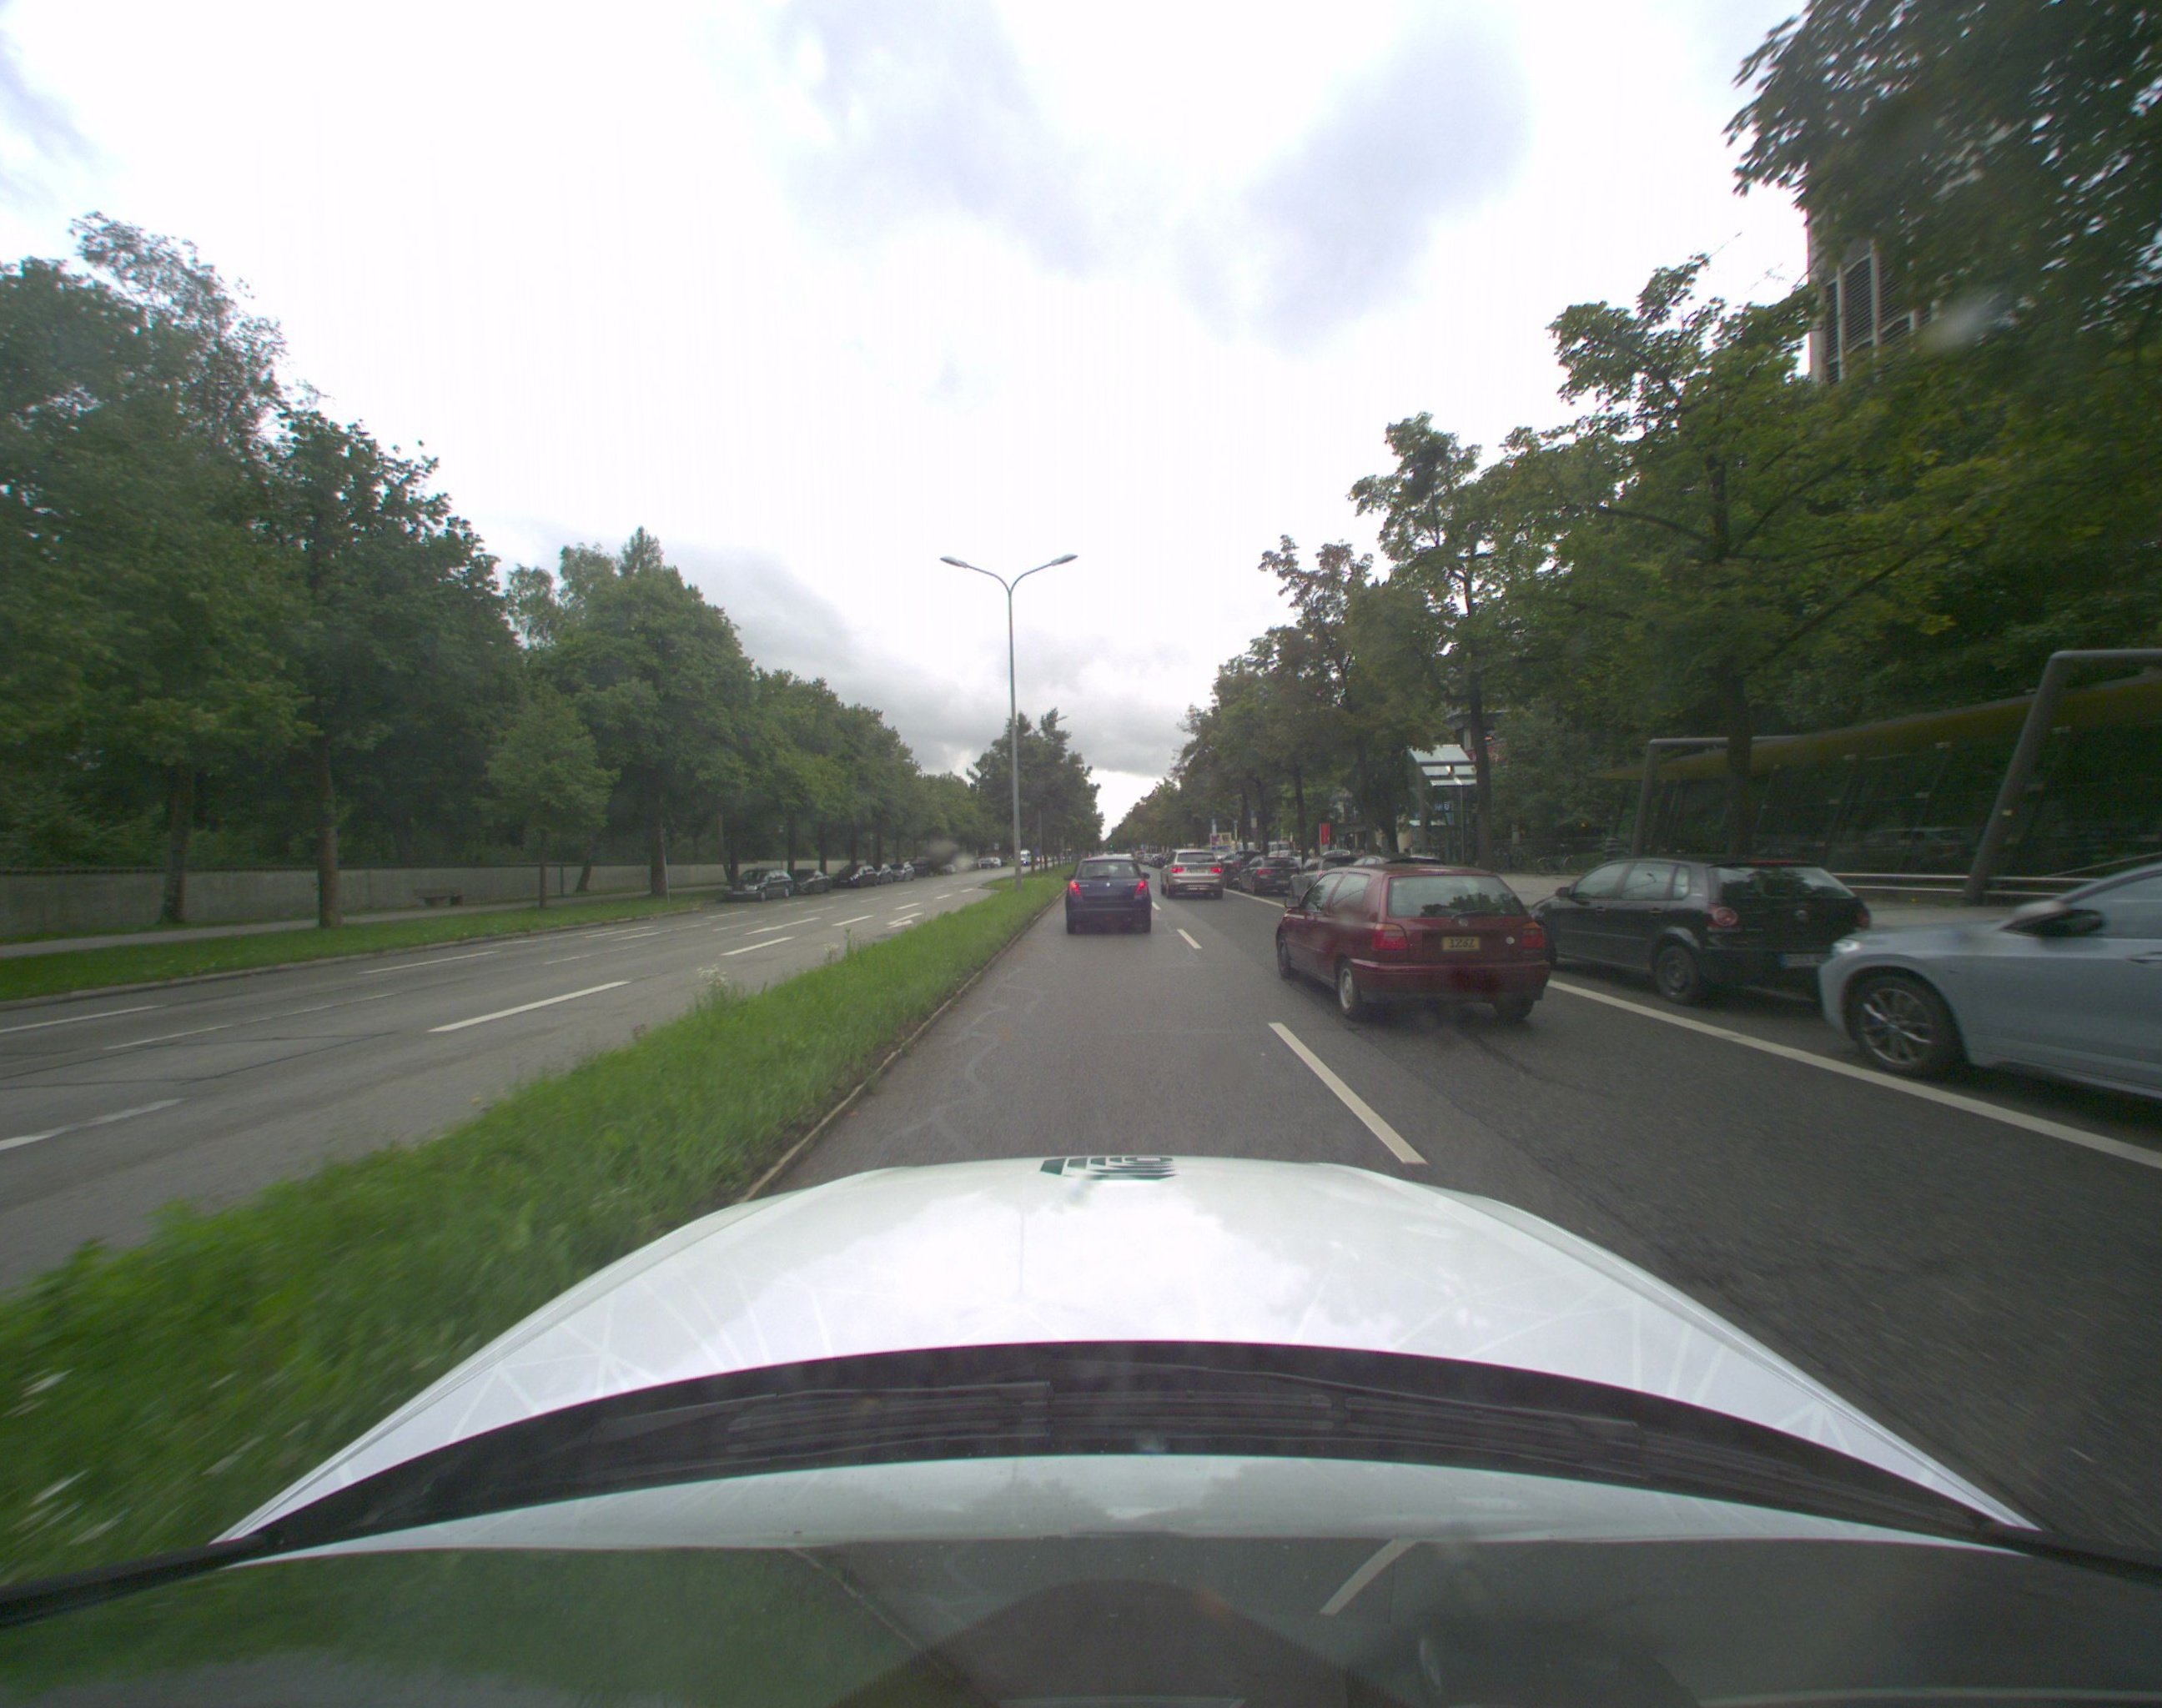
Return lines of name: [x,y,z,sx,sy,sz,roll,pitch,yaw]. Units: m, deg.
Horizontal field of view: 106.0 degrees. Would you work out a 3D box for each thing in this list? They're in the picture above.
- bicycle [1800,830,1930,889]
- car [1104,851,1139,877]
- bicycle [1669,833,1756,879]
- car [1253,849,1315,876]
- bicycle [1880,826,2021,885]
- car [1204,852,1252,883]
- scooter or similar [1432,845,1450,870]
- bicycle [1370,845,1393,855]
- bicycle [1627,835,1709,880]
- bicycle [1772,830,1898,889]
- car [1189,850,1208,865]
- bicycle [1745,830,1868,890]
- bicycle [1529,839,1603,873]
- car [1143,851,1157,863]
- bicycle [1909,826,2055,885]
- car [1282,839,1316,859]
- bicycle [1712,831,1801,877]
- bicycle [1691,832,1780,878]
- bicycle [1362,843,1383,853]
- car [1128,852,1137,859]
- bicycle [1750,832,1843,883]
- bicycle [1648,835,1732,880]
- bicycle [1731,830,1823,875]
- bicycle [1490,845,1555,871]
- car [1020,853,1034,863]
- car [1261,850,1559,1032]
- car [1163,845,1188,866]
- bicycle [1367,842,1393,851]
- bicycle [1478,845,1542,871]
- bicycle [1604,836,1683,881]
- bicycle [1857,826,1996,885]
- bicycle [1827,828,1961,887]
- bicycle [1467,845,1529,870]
bicycle: [18.371,0.115,19.193,0.642,1.280,2.551,-2,0,2]
car: [2.372,0.565,48.430,1.844,1.447,4.097,-2,0,0]
bicycle: [18.904,0.054,24.467,0.642,1.280,2.551,-2,0,2]
car: [13.145,0.533,52.521,1.948,1.625,4.877,-1,0,39]
bicycle: [20.492,0.034,19.298,0.642,1.280,2.551,-2,0,2]
car: [7.343,0.631,41.021,1.647,1.434,4.483,-2,0,1]
scooter or similar: [17.745,0.179,40.163,0.418,1.233,1.238,-1,0,4]
bicycle: [30.368,-0.398,82.399,0.751,0.958,2.022,-1,0,-45]
bicycle: [17.561,0.103,24.453,0.642,1.280,2.551,-2,0,2]
bicycle: [17.647,0.124,19.162,0.642,1.280,2.551,-2,0,2]
car: [13.006,0.332,90.179,1.677,1.585,4.011,-2,0,2]
bicycle: [16.979,0.131,19.173,0.642,1.280,2.551,-2,0,2]
bicycle: [19.271,0.077,32.404,2.533,1.280,0.647,-2,0,1]
car: [9.450,0.407,112.066,1.677,1.525,4.458,0,0,2]
bicycle: [21.192,0.029,19.257,0.642,1.280,2.551,-2,0,2]
car: [18.845,-0.416,70.610,1.986,1.651,4.002,-2,0,2]
bicycle: [20.211,0.006,24.447,0.602,1.280,2.551,-2,0,2]
bicycle: [19.568,0.031,24.436,0.642,1.280,2.551,-2,0,2]
bicycle: [31.601,-0.635,88.272,2.034,0.958,0.746,-2,0,0]
car: [11.252,0.341,177.823,1.844,1.447,4.097,-2,0,0]
bicycle: [19.166,0.076,21.803,2.545,1.280,0.490,-2,0,-14]
bicycle: [18.236,0.099,24.465,0.642,1.280,2.551,-2,0,2]
bicycle: [20.834,-0.047,24.456,0.602,1.280,2.551,-2,0,2]
bicycle: [19.518,0.170,36.027,2.533,1.089,0.647,-2,0,1]
car: [-8.641,0.613,130.785,1.907,1.542,4.187,-2,0,0]
car: [3.137,0.713,8.664,1.616,1.454,3.950,-2,0,1]
car: [8.143,0.101,70.507,1.755,1.701,4.822,-2,0,2]
bicycle: [30.706,-0.767,83.590,0.776,0.870,2.373,-2,0,-44]
bicycle: [19.546,0.167,37.097,2.533,1.089,0.647,-2,0,1]
bicycle: [16.846,0.124,24.492,0.642,1.280,2.551,-2,0,2]
bicycle: [19.739,0.039,19.112,0.642,1.280,2.551,-2,0,2]
bicycle: [18.975,0.072,19.113,0.642,1.280,2.551,-2,0,2]
bicycle: [19.607,0.161,38.316,2.533,1.089,0.647,-2,0,1]
